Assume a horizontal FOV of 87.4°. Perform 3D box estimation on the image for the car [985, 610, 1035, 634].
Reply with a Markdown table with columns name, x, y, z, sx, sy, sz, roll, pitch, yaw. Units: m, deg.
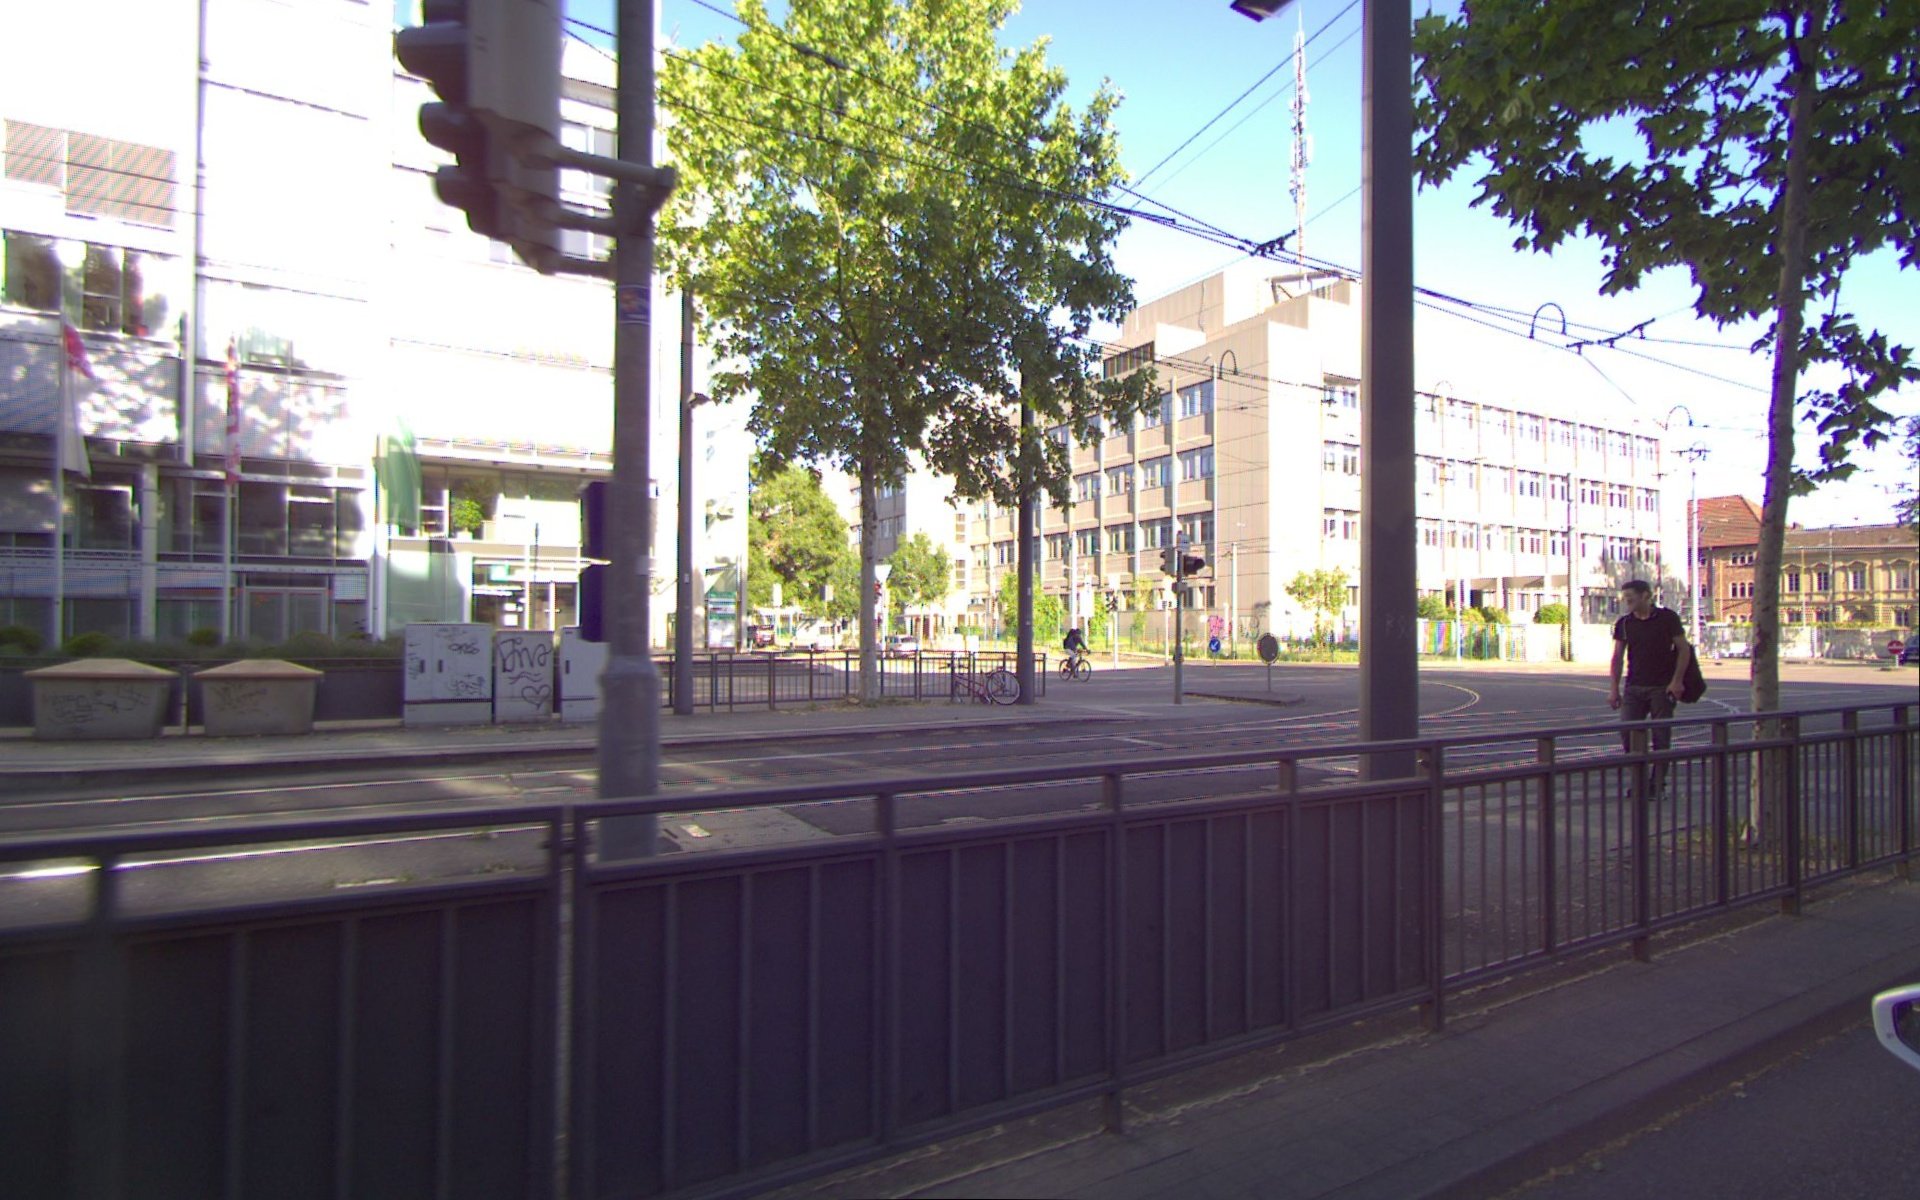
| name | x | y | z | sx | sy | sz | roll | pitch | yaw |
| --- | --- | --- | --- | --- | --- | --- | --- | --- | --- |
| car | 4.364 | 1.949 | 87.019 | 3.954 | 2.040 | 1.984 | 1 | -2 | -31 |

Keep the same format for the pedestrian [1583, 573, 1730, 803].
| name | x | y | z | sx | sy | sz | roll | pitch | yaw |
| --- | --- | --- | --- | --- | --- | --- | --- | --- | --- |
| pedestrian | 5.683 | 0.684 | 8.217 | 0.702 | 1.770 | 0.732 | 1 | -1 | -25 |

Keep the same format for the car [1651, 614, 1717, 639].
| name | x | y | z | sx | sy | sz | roll | pitch | yaw |
| --- | --- | --- | --- | --- | --- | --- | --- | --- | --- |
| car | 51.221 | 1.891 | 71.081 | 4.319 | 1.725 | 1.987 | 1 | -2 | -26 |

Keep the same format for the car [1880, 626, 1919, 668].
| name | x | y | z | sx | sy | sz | roll | pitch | yaw |
| --- | --- | --- | --- | --- | --- | --- | --- | --- | --- |
| car | 46.538 | 2.221 | 48.166 | 4.362 | 1.973 | 1.989 | 1 | -1 | -24 |

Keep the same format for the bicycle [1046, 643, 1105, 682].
| name | x | y | z | sx | sy | sz | roll | pitch | yaw |
| --- | --- | --- | --- | --- | --- | --- | --- | --- | --- |
| bicycle | 3.880 | 2.081 | 33.766 | 2.014 | 1.205 | 0.587 | -1 | -2 | 44 |

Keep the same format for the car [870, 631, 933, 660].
| name | x | y | z | sx | sy | sz | roll | pitch | yaw |
| --- | --- | --- | --- | --- | --- | --- | --- | --- | --- |
| car | -3.601 | 2.762 | 61.458 | 2.089 | 1.720 | 3.930 | 1 | -2 | -36 |

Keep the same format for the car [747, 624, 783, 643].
| name | x | y | z | sx | sy | sz | roll | pitch | yaw |
| --- | --- | --- | --- | --- | --- | --- | --- | --- | --- |
| car | -16.435 | 2.815 | 84.533 | 1.735 | 1.579 | 3.916 | 2 | -2 | -32 |

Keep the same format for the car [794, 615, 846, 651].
| name | x | y | z | sx | sy | sz | roll | pitch | yaw |
| --- | --- | --- | --- | --- | --- | --- | --- | --- | --- |
| car | -10.162 | 2.380 | 72.750 | 2.159 | 2.538 | 4.362 | 2 | -2 | -32 |

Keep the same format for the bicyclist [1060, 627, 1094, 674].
| name | x | y | z | sx | sy | sz | roll | pitch | yaw |
| --- | --- | --- | --- | --- | --- | --- | --- | --- | --- |
| bicyclist | 3.921 | 1.685 | 33.727 | 0.870 | 1.514 | 0.719 | -1 | -2 | 43 |

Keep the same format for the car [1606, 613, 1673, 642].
| name | x | y | z | sx | sy | sz | roll | pitch | yaw |
| --- | --- | --- | --- | --- | --- | --- | --- | --- | --- |
| car | 49.848 | 2.037 | 73.664 | 4.662 | 2.040 | 1.987 | 1 | -2 | -26 |

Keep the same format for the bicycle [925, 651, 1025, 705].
| name | x | y | z | sx | sy | sz | roll | pitch | yaw |
| --- | --- | --- | --- | --- | --- | --- | --- | --- | --- |
| bicycle | 0.286 | 1.465 | 19.006 | 1.702 | 0.958 | 0.811 | 2 | -2 | -24 |
